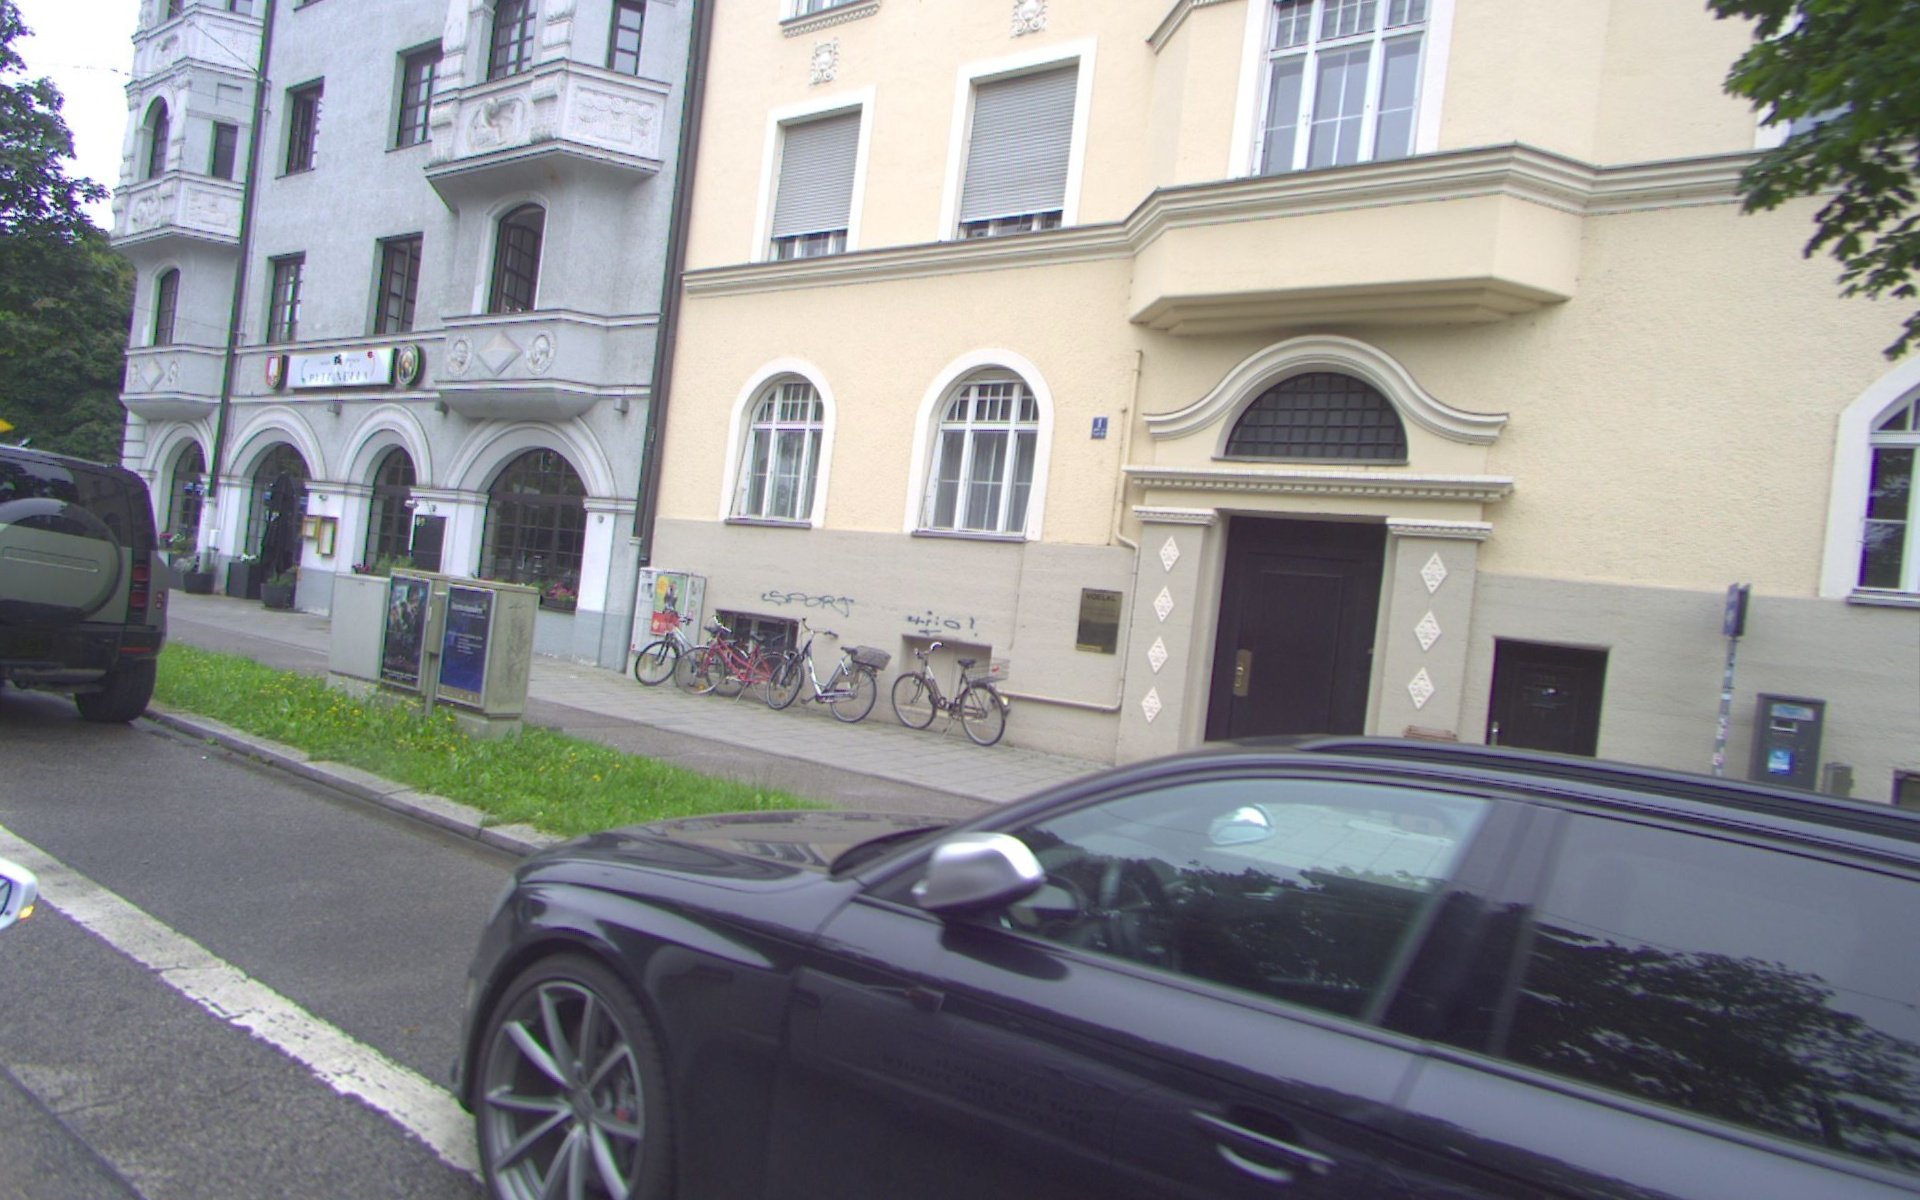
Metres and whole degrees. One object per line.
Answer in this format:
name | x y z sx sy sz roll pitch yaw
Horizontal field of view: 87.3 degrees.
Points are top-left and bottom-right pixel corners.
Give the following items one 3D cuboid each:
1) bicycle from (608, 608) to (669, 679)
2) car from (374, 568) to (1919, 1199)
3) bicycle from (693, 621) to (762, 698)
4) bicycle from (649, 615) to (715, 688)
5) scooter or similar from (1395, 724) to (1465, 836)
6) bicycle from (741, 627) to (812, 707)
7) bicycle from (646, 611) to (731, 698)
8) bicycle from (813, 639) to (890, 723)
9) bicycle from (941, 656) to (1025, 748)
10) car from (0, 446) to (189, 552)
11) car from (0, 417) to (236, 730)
bicycle | -4.775 0.645 14.935 0.871 0.941 0.259 6 -2 33
car | 0.961 0.925 2.114 4.526 1.442 1.720 6 -3 31
bicycle | -3.217 0.819 13.921 0.871 0.941 0.306 6 -2 34
bicycle | -3.997 0.738 14.449 0.871 0.941 0.291 6 -2 33
scooter or similar | 4.262 1.624 9.134 0.413 0.921 0.348 7 -2 11
bicycle | -2.441 0.882 13.365 0.871 0.941 0.273 6 -2 33
bicycle | -3.726 0.738 13.780 1.203 1.051 0.242 6 -2 32
bicycle | -1.364 1.014 12.619 0.871 0.941 0.285 6 -2 33
bicycle | 0.265 1.178 11.660 0.871 0.941 0.222 6 -2 31
car | -30.945 -3.477 35.450 2.192 2.641 5.311 6 -3 29
car | -7.874 -0.337 7.618 4.726 1.927 1.919 6 -3 30
